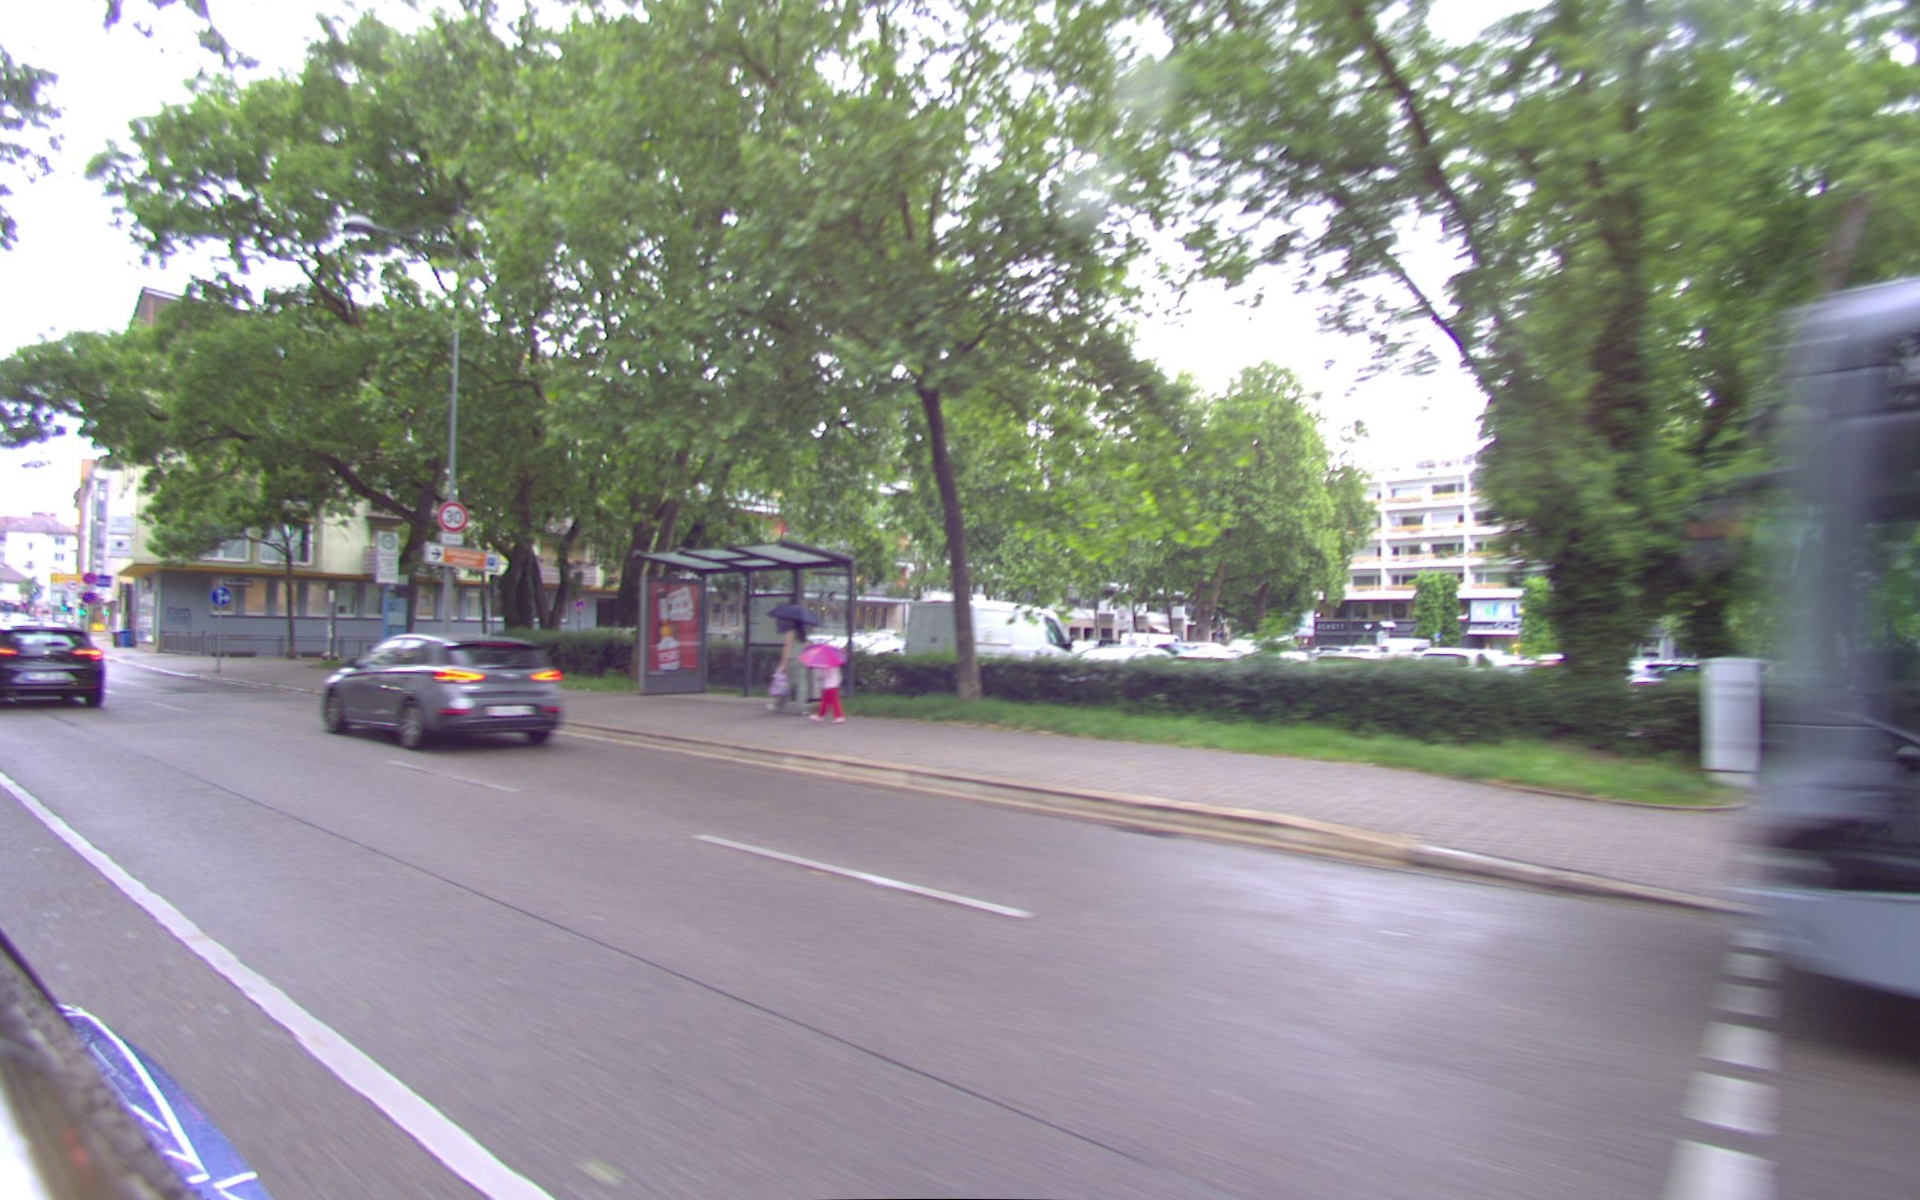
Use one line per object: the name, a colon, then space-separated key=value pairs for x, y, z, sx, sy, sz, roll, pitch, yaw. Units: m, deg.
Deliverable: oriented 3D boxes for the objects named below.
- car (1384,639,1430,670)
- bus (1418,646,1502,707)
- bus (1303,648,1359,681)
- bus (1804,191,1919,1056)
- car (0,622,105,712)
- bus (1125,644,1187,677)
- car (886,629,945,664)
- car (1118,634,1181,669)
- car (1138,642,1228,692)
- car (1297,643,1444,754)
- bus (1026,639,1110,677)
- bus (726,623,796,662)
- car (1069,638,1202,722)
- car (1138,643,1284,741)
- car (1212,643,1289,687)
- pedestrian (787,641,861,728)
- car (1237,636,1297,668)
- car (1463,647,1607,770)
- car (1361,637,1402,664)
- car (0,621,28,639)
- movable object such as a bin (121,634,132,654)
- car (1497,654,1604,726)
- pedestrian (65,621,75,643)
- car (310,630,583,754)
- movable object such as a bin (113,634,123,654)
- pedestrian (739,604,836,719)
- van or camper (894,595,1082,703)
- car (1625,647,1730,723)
car: x=25.387 y=3.076 z=57.436 sx=1.638 sy=1.536 sz=3.161 roll=0 pitch=0 yaw=38
bus: x=12.942 y=1.938 z=26.127 sx=1.379 sy=1.444 sz=2.762 roll=-1 pitch=-3 yaw=39
bus: x=18.385 y=3.168 z=50.060 sx=1.604 sy=1.551 sz=3.385 roll=-1 pitch=-3 yaw=39
bus: x=8.438 y=0.061 z=0.900 sx=11.774 sy=2.997 sz=2.738 roll=-1 pitch=-3 yaw=41
car: x=-16.287 y=1.119 z=17.614 sx=3.453 sy=1.426 sz=1.607 roll=-1 pitch=-4 yaw=41
bus: x=9.745 y=2.997 z=50.127 sx=1.604 sy=1.551 sz=3.385 roll=-1 pitch=-3 yaw=39
car: x=-2.664 y=2.841 z=61.101 sx=1.988 sy=2.029 sz=3.968 roll=0 pitch=-3 yaw=23
car: x=10.353 y=2.825 z=55.175 sx=1.815 sy=1.787 sz=3.884 roll=-1 pitch=-4 yaw=38
car: x=6.955 y=2.077 z=31.397 sx=1.391 sy=1.446 sz=3.227 roll=-1 pitch=-4 yaw=41
car: x=7.023 y=1.578 z=17.169 sx=1.506 sy=1.536 sz=3.161 roll=0 pitch=0 yaw=38
bus: x=4.323 y=2.307 z=40.051 sx=1.634 sy=1.399 sz=3.524 roll=-1 pitch=-3 yaw=39
bus: x=-10.110 y=2.193 z=51.647 sx=1.703 sy=1.939 sz=3.698 roll=0 pitch=-3 yaw=23
car: x=3.819 y=1.648 z=21.687 sx=1.506 sy=1.536 sz=3.161 roll=0 pitch=0 yaw=38
car: x=4.762 y=1.641 z=18.985 sx=1.506 sy=1.536 sz=3.161 roll=0 pitch=0 yaw=38
car: x=10.172 y=2.271 z=35.336 sx=1.391 sy=1.446 sz=3.227 roll=-1 pitch=-4 yaw=41
pedestrian: x=-1.955 y=1.193 z=14.563 sx=0.826 sy=1.183 sz=0.677 roll=-1 pitch=-1 yaw=40
car: x=14.698 y=2.494 z=48.347 sx=1.604 sy=1.439 sz=3.275 roll=-1 pitch=-3 yaw=39
car: x=8.959 y=1.567 z=15.663 sx=1.506 sy=1.536 sz=3.161 roll=0 pitch=0 yaw=38
car: x=26.883 y=3.175 z=64.572 sx=1.638 sy=1.536 sz=3.161 roll=-1 pitch=0 yaw=38
car: x=-97.859 y=3.095 z=104.696 sx=4.001 sy=1.730 sz=1.863 roll=-2 pitch=-4 yaw=44
movable object such as a bin: x=-44.892 y=2.358 z=54.522 sx=0.409 sy=1.037 sz=0.354 roll=4 pitch=-4 yaw=-42
car: x=14.393 y=2.114 z=24.568 sx=1.815 sy=1.527 sz=3.950 roll=0 pitch=-3 yaw=37
pedestrian: x=-79.267 y=2.848 z=90.146 sx=0.586 sy=1.858 sz=0.565 roll=4 pitch=-4 yaw=-42
car: x=-7.048 y=1.164 z=13.743 sx=4.026 sy=1.428 sz=1.790 roll=-1 pitch=-5 yaw=40
movable object such as a bin: x=-45.148 y=2.349 z=54.248 sx=0.333 sy=1.037 sz=0.354 roll=4 pitch=-4 yaw=-42
pedestrian: x=-2.770 y=0.944 z=16.261 sx=1.208 sy=1.755 sz=0.982 roll=-1 pitch=-1 yaw=40
van or camper: x=0.749 y=1.106 z=23.015 sx=2.045 sy=2.186 sz=4.439 roll=0 pitch=-3 yaw=38
car: x=16.428 y=1.870 z=23.133 sx=1.815 sy=1.527 sz=3.950 roll=0 pitch=-3 yaw=37
